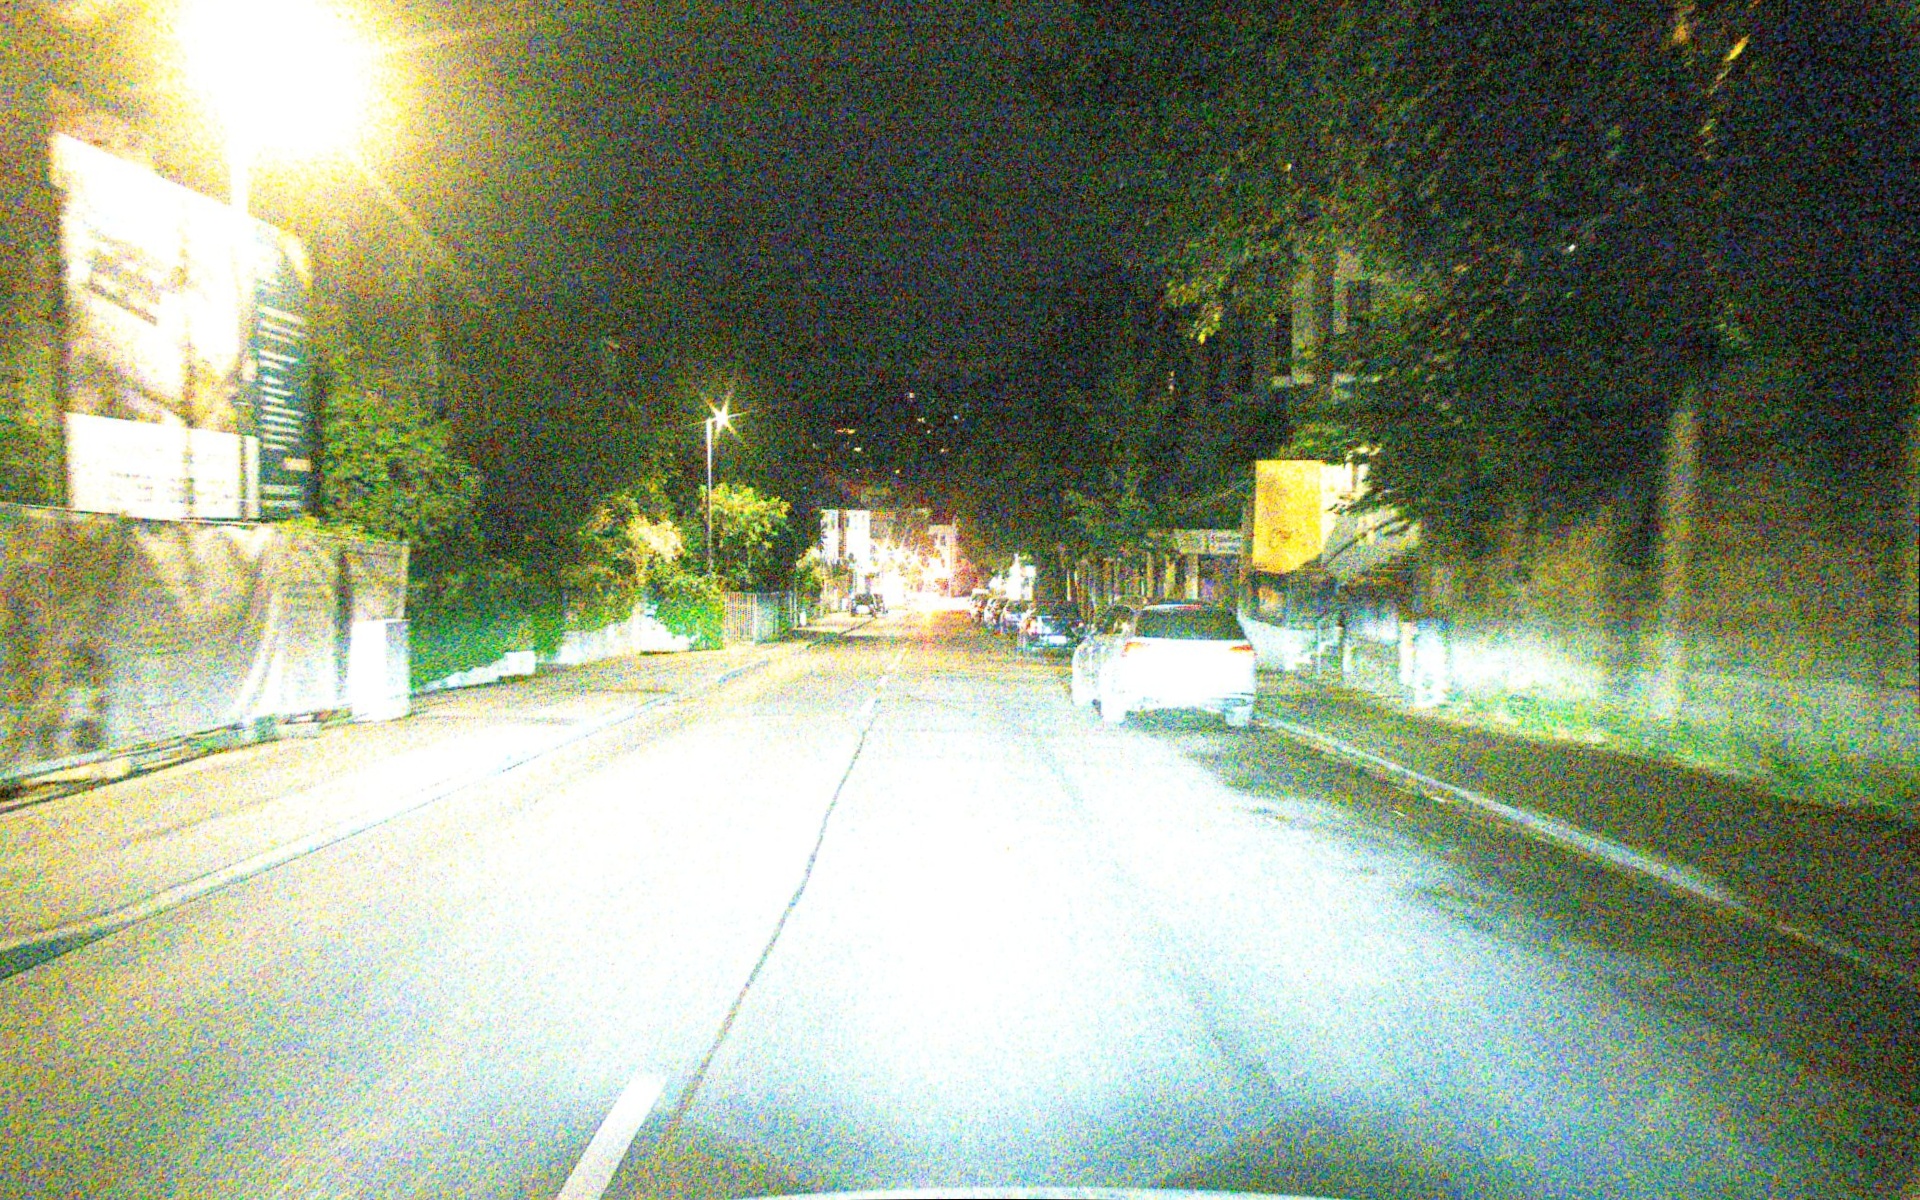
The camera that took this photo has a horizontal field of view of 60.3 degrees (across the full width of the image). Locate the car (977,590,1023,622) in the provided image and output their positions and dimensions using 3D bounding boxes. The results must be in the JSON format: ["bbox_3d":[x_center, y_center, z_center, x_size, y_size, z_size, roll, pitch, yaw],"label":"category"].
[{"bbox_3d":[1.883,0.270,79.013,1.650,1.474,3.995,1,0,-6],"label":"car"}]

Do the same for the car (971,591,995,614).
[{"bbox_3d":[1.600,0.152,115.238,1.648,1.566,4.000,0,0,0],"label":"car"}]

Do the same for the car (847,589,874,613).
[{"bbox_3d":[-6.644,0.045,110.284,1.718,1.566,3.728,0,0,-4],"label":"car"}]

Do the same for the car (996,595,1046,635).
[{"bbox_3d":[2.377,0.565,63.567,1.829,1.427,4.002,1,0,3],"label":"car"}]

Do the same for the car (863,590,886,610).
[{"bbox_3d":[-6.571,-0.007,127.408,1.718,1.566,3.729,0,0,-2],"label":"car"}]

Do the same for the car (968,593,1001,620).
[{"bbox_3d":[1.393,0.370,94.825,1.649,1.474,3.998,1,0,-3],"label":"car"}]

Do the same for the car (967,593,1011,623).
[{"bbox_3d":[1.457,0.387,83.649,1.650,1.474,3.994,1,0,-7],"label":"car"}]

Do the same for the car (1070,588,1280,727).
[{"bbox_3d":[2.555,0.638,20.698,1.728,1.501,4.272,2,0,-4],"label":"car"}]

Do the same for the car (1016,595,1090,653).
[{"bbox_3d":[2.419,0.601,43.906,1.597,1.464,3.863,1,0,-2],"label":"car"}]

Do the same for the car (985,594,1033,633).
[{"bbox_3d":[1.992,0.536,68.408,1.649,1.474,3.998,1,0,-3],"label":"car"}]
